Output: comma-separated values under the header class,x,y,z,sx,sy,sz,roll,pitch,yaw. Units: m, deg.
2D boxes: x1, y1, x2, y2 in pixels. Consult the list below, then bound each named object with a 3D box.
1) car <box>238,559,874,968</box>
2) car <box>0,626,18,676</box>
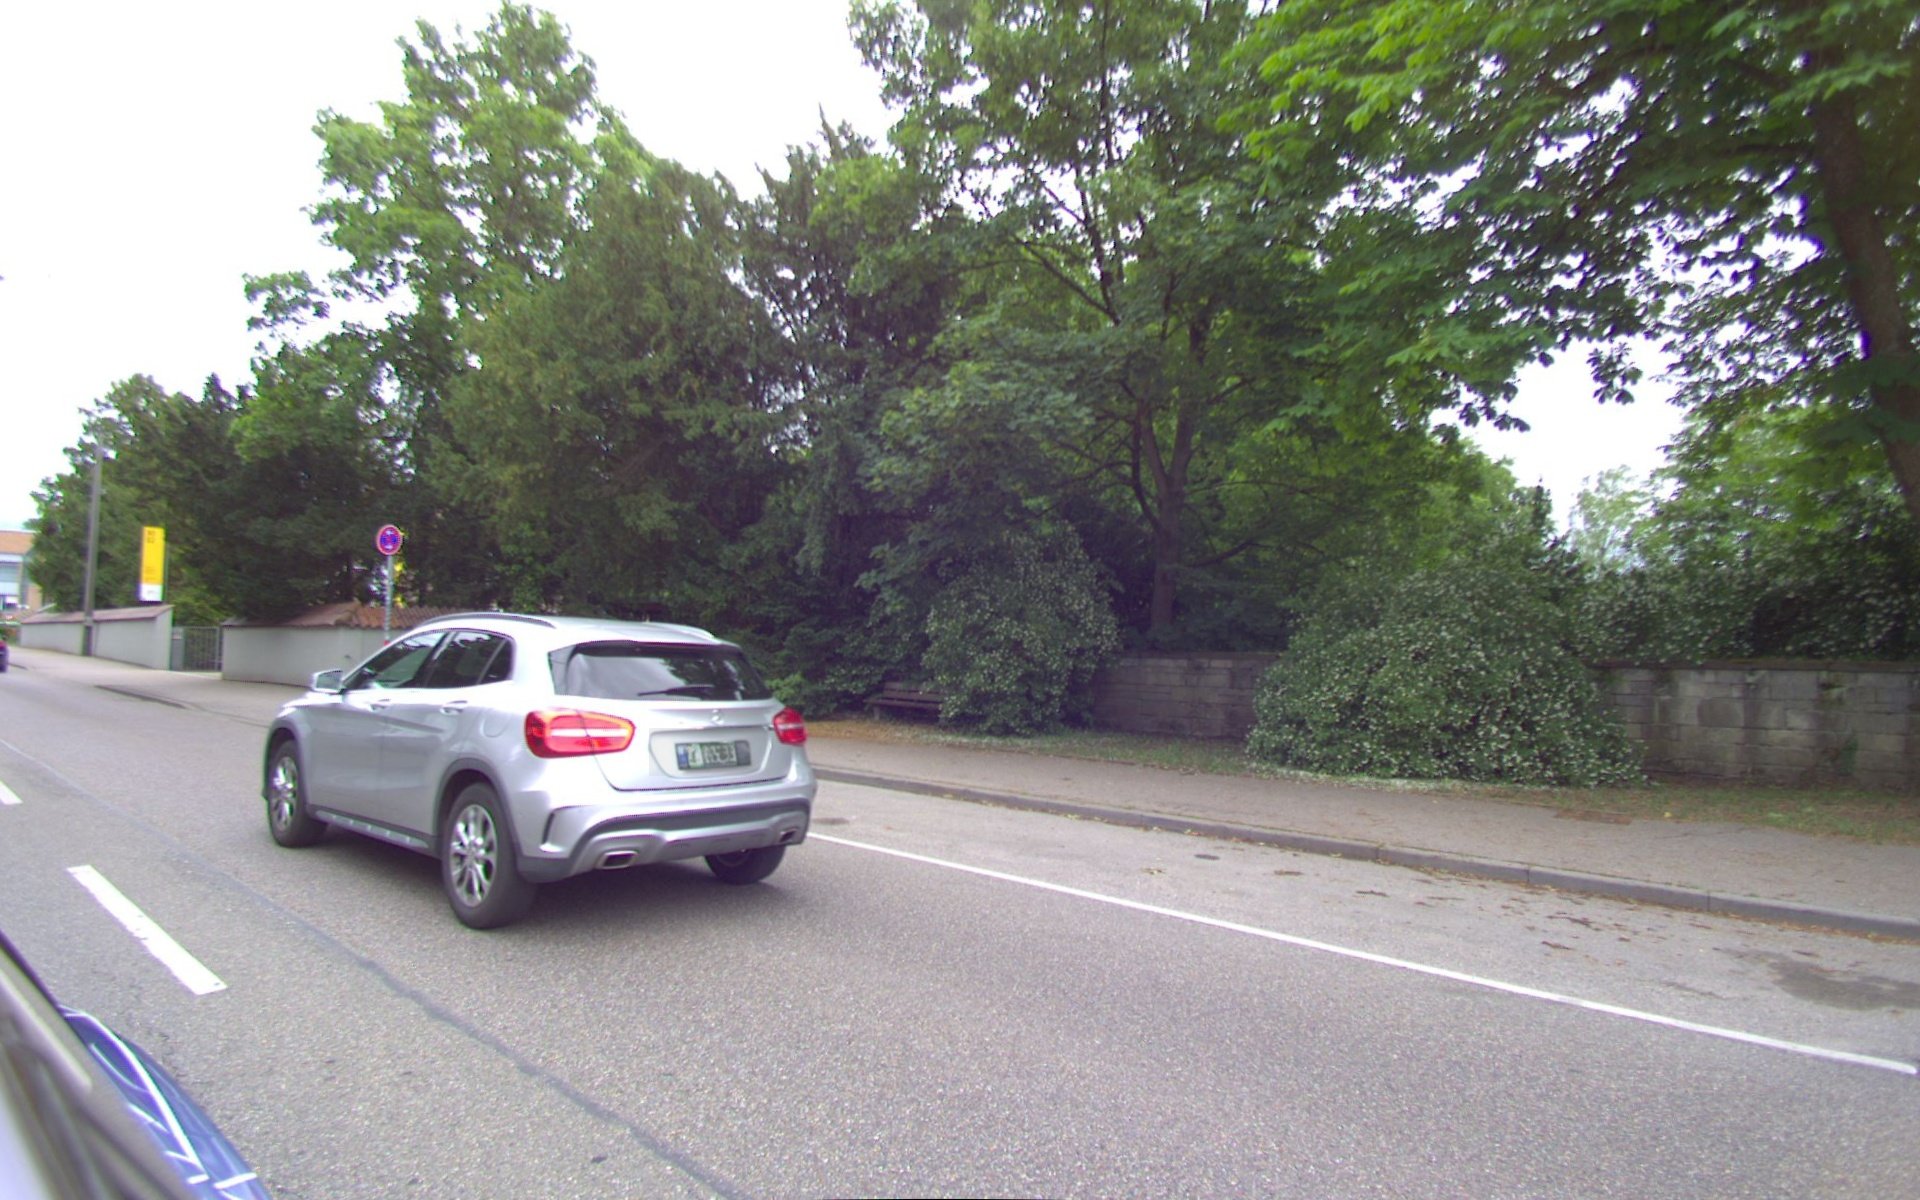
class,x,y,z,sx,sy,sz,roll,pitch,yaw
car,-2.642,0.763,6.167,4.117,1.666,1.767,-1,-5,40
car,-30.071,1.466,30.582,4.109,1.464,1.840,-1,-5,41
